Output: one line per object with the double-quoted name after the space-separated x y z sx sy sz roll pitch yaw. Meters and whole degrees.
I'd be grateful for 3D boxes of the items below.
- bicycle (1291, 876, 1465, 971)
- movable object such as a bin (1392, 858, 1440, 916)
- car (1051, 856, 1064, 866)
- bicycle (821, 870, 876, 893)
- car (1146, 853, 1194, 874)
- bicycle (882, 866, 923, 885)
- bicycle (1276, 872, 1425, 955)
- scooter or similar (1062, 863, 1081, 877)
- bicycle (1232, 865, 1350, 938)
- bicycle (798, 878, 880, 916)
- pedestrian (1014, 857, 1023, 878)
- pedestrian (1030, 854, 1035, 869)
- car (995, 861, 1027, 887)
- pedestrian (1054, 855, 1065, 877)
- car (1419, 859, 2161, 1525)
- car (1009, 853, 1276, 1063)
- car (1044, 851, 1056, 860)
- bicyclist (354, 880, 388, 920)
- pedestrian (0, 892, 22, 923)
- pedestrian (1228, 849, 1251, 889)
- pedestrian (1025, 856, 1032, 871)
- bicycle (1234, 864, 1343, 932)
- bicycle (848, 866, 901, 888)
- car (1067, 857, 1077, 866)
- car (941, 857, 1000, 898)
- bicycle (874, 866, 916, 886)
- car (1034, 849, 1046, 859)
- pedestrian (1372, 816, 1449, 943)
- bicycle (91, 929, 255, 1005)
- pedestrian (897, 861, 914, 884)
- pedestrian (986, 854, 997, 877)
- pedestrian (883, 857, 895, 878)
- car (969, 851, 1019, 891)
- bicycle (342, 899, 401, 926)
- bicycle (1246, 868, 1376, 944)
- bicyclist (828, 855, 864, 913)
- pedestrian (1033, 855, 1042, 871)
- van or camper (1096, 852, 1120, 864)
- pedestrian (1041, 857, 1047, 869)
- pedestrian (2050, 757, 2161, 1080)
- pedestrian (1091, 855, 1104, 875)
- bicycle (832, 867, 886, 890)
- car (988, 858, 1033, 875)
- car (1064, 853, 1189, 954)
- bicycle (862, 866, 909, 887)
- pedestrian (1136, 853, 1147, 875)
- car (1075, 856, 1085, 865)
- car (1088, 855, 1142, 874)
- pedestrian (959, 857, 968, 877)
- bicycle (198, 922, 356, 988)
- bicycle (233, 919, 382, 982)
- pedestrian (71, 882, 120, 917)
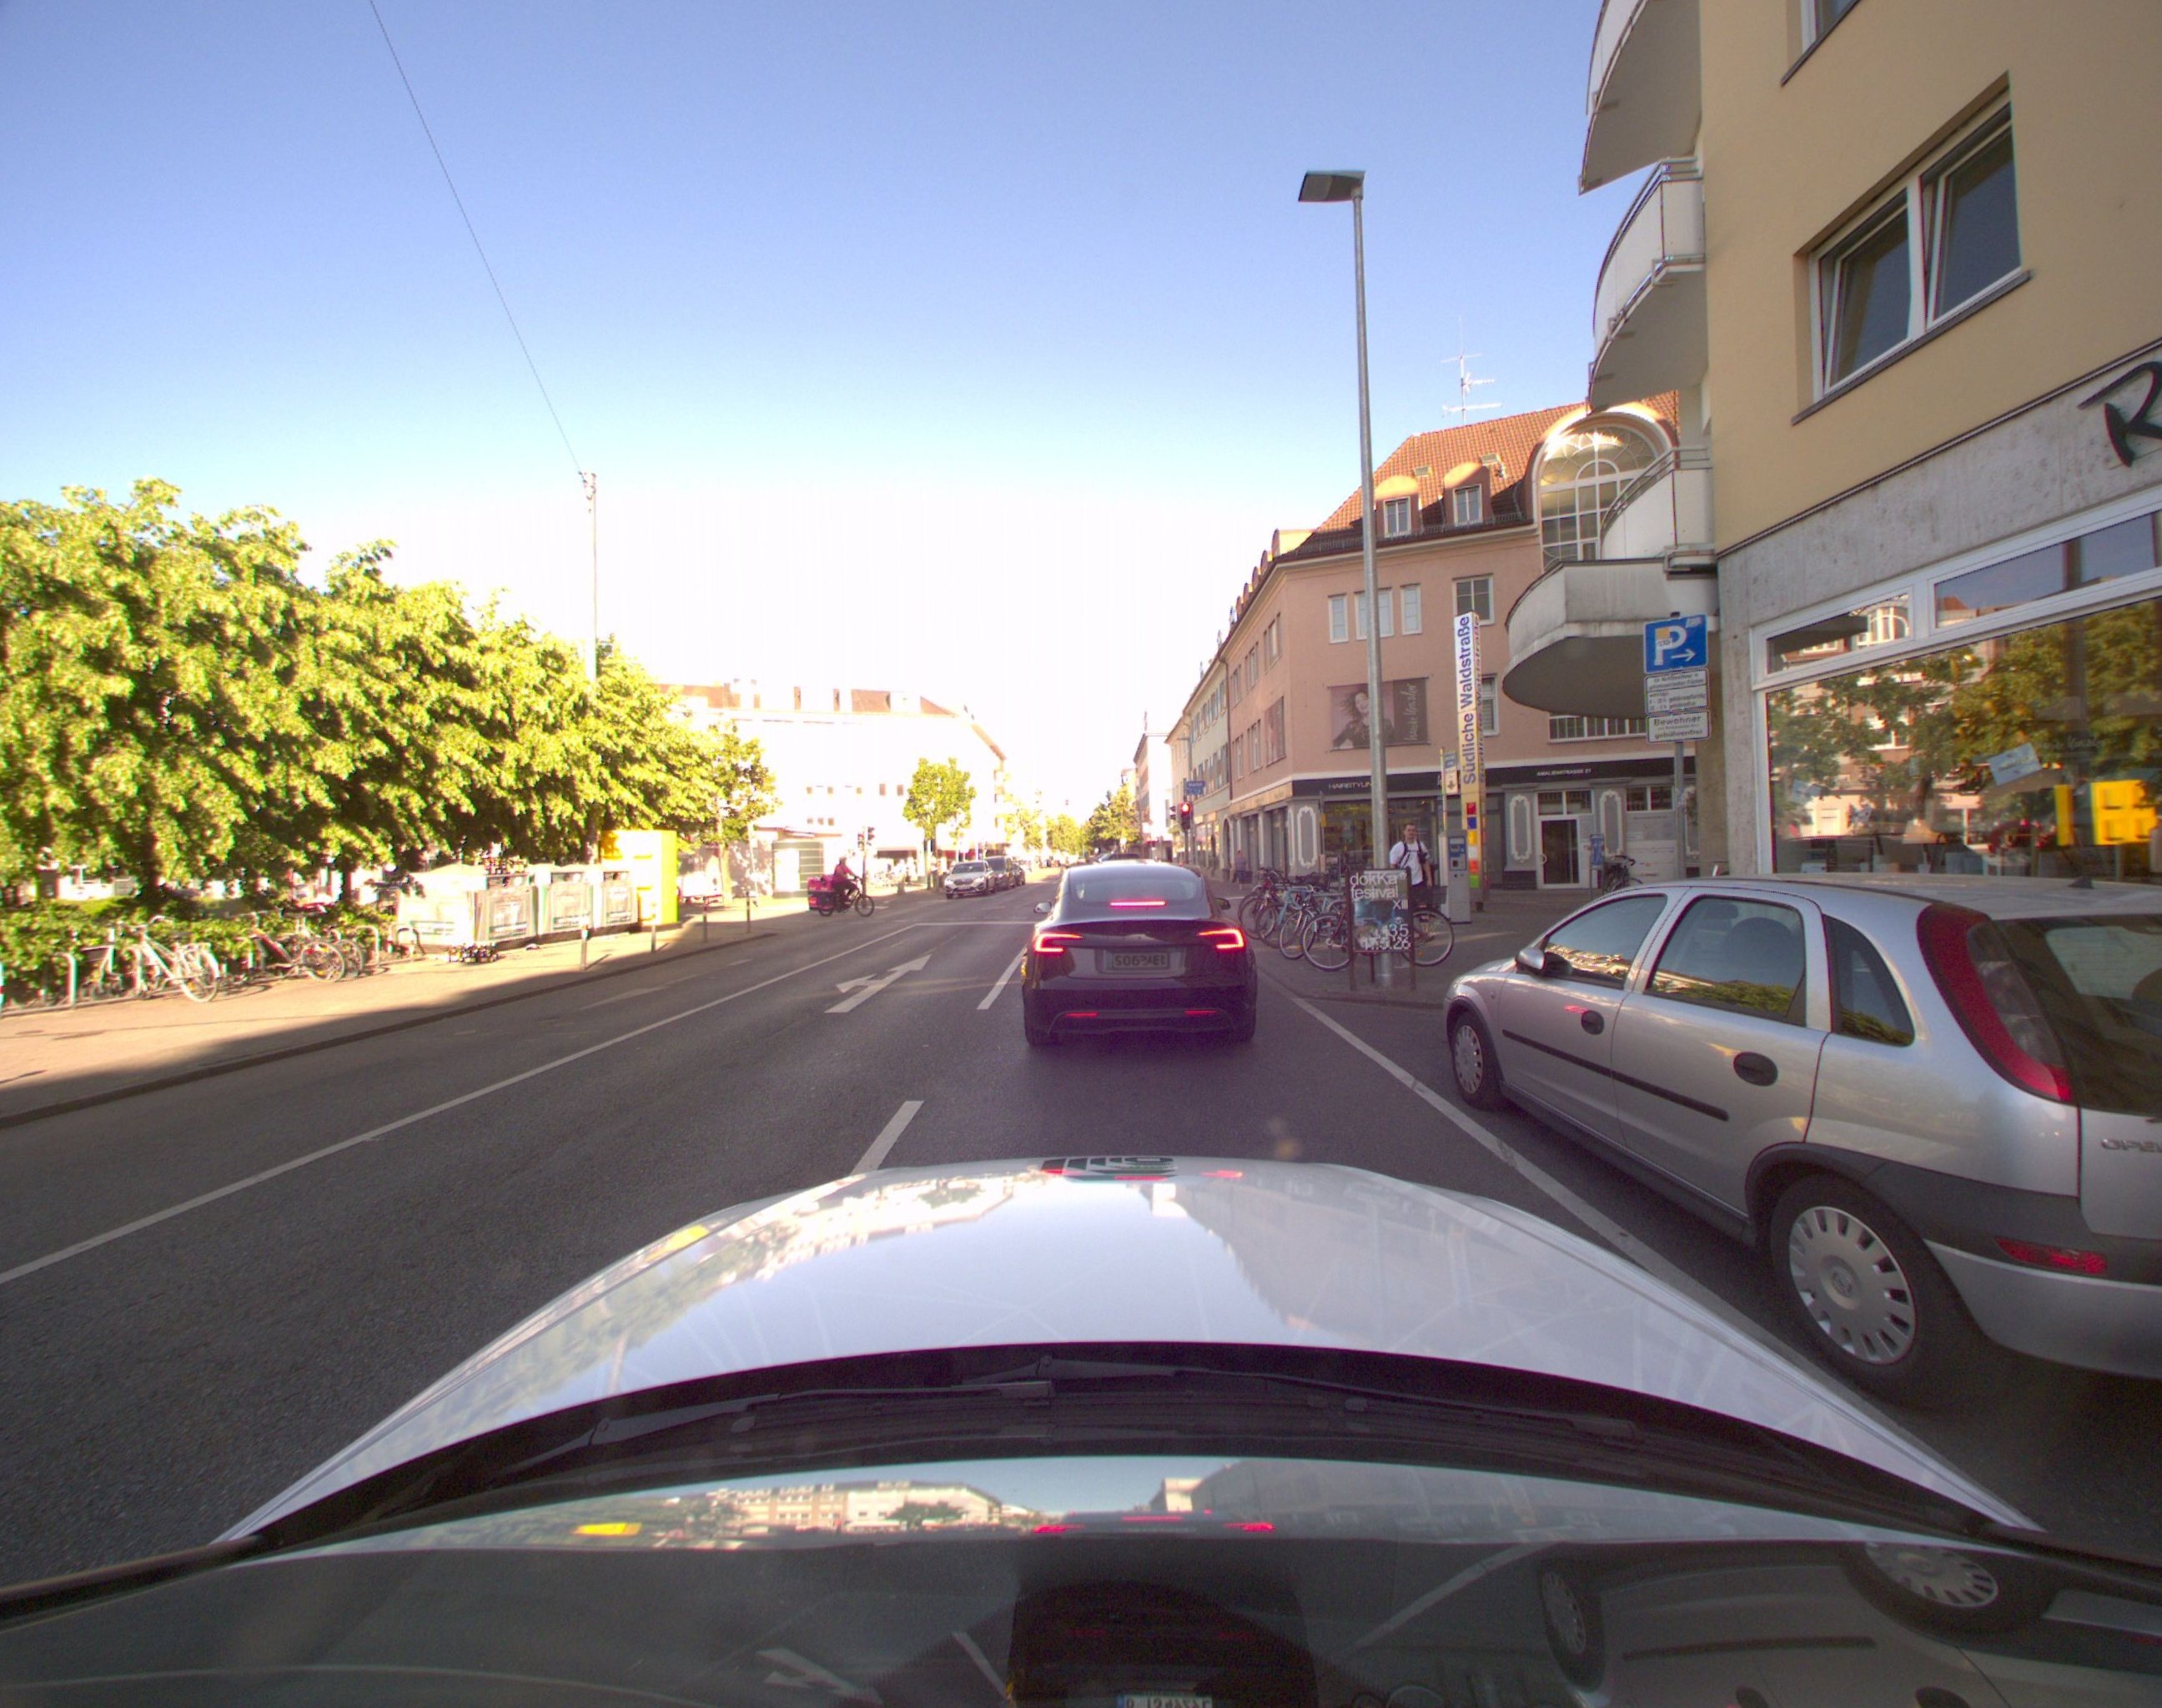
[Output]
3.636 0.848 10.080 1.875 1.044 0.653 -2 0 3 "bicycle"
6.745 0.663 16.420 0.633 1.103 0.728 -4 -1 5 "movable object such as a bin"
-4.853 1.330 166.806 2.405 1.970 4.679 -1 0 2 "car"
-12.324 1.442 43.242 2.652 1.195 0.942 0 -1 -1 "bicycle"
8.148 0.878 74.647 4.006 1.867 1.686 -1 0 -20 "car"
-12.052 1.425 55.002 2.535 1.251 0.942 0 -1 -1 "bicycle"
3.656 0.801 11.153 1.806 1.060 0.653 -1 0 3 "bicycle"
-0.755 1.271 64.727 1.339 1.134 0.804 0 -1 -23 "scooter or similar"
3.497 0.778 13.640 1.806 1.152 0.653 -1 0 3 "bicycle"
-7.549 1.340 25.457 2.376 1.151 0.714 -1 -1 8 "bicycle"
-4.987 1.083 64.971 0.704 1.609 0.606 0 -1 -7 "pedestrian"
-6.212 0.983 104.222 0.693 1.868 0.658 0 -1 -3 "pedestrian"
-4.256 1.209 50.044 1.455 1.430 3.607 -5 -1 2 "car"
-1.698 0.949 64.306 0.660 1.760 0.649 0 -1 -22 "pedestrian"
2.961 0.741 3.544 1.578 1.426 3.581 0 -1 2 "car"
0.496 0.741 7.880 1.843 1.447 4.453 0 0 2 "car"
-7.157 0.299 188.731 2.266 2.014 4.720 0 -1 3 "car"
-25.159 1.621 28.871 0.701 1.381 0.577 -3 -2 14 "bicyclist"
-54.218 2.680 41.182 0.827 1.520 0.782 -1 -1 38 "pedestrian"
6.305 0.595 32.405 0.786 1.549 0.724 0 -1 2 "pedestrian"
-6.279 1.136 97.590 0.734 1.868 0.787 0 -1 -15 "pedestrian"
3.737 0.786 14.769 1.806 1.152 0.653 -1 0 3 "bicycle"
-12.154 1.367 47.982 2.867 1.270 0.942 0 -1 -1 "bicycle"
-1.991 1.786 187.427 2.124 1.970 4.135 -1 0 2 "car"
-4.883 1.019 36.596 1.818 1.565 4.302 -5 -1 2 "car"
-11.998 1.405 52.575 2.535 1.251 0.942 0 -1 -1 "bicycle"
-9.013 -0.005 180.136 2.266 2.014 4.720 0 -1 3 "car"
4.942 0.374 12.287 0.805 1.823 0.984 0 -1 5 "pedestrian"
-11.461 1.420 10.304 1.560 0.886 0.470 0 -1 1 "bicycle"
-12.496 1.288 58.040 1.096 1.611 1.259 0 -1 -18 "pedestrian"
-7.063 0.922 64.355 0.844 1.760 0.704 0 -1 -12 "pedestrian"
-18.110 1.275 76.809 0.926 2.014 0.852 0 -1 -24 "pedestrian"
-4.495 0.839 42.918 1.938 1.947 4.822 -1 0 2 "car"
-25.130 2.079 28.845 1.840 0.823 0.583 -4 -1 14 "bicycle"
3.519 0.794 12.564 1.806 1.102 0.653 -1 0 3 "bicycle"
-7.339 0.924 25.427 0.859 1.755 0.683 -1 -2 9 "bicyclist"
-5.125 1.113 95.828 0.726 1.868 0.796 -1 -1 30 "pedestrian"
5.640 0.861 167.658 4.832 2.438 1.851 -1 0 1 "van or camper"
-5.697 1.343 123.795 0.696 1.868 0.904 0 -1 -17 "pedestrian"
6.273 0.332 4.522 0.779 1.754 0.726 -4 -1 14 "pedestrian"
1.377 0.924 67.060 0.812 1.609 0.702 0 -1 -35 "pedestrian"
-12.392 1.374 45.586 2.772 1.274 0.933 0 -1 -2 "bicycle"
-6.955 1.230 79.926 4.133 1.530 1.541 -1 0 -20 "car"
0.742 0.752 14.304 1.843 1.482 4.453 0 0 2 "car"
-12.053 1.391 50.299 2.655 1.259 0.942 0 -1 -1 "bicycle"
5.121 0.824 68.538 0.701 1.877 0.813 -1 -1 22 "pedestrian"
-0.203 1.348 171.062 1.886 1.813 3.925 0 -1 0 "car"
3.544 1.057 84.759 5.213 1.866 1.871 -1 0 -20 "car"
-9.455 1.040 65.464 0.624 1.524 0.577 0 -1 -11 "pedestrian"
-11.426 1.426 11.601 1.667 0.859 0.469 0 -1 -5 "bicycle"
-11.461 1.427 12.100 1.663 0.859 0.469 0 -1 -5 "bicycle"
-54.499 2.512 45.045 1.092 1.842 1.303 0 -1 8 "pedestrian"
